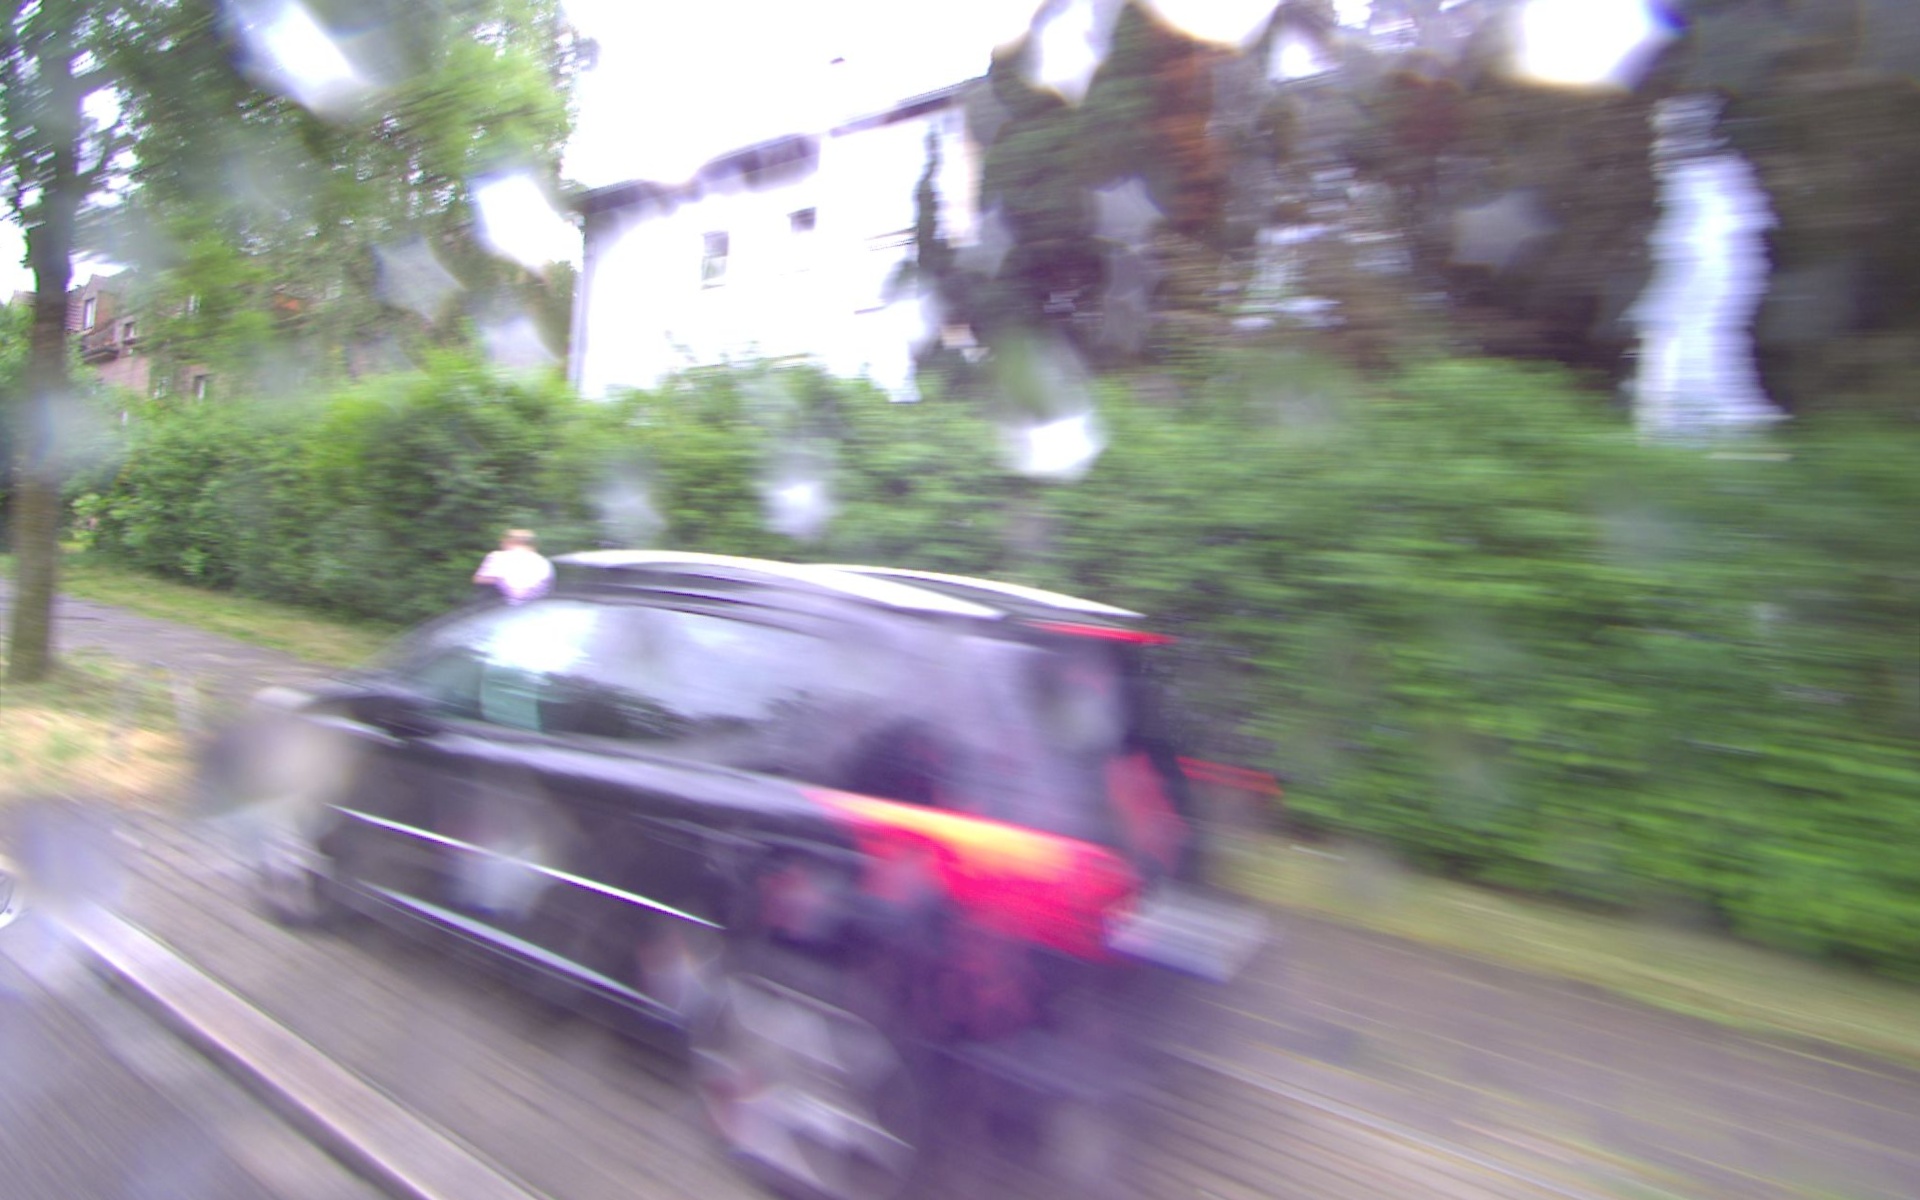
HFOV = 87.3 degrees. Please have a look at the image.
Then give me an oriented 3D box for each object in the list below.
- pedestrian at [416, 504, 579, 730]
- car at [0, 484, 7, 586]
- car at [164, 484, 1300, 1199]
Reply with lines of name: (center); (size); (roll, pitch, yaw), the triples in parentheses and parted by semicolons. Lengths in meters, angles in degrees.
pedestrian: (-3.789, 0.129, 8.257); (0.879, 1.701, 0.717); (6, 2, 29)
car: (-12.105, -0.671, 10.807); (3.722, 1.532, 1.723); (7, 1, 31)
car: (-1.042, 0.554, 3.684); (3.947, 1.617, 1.641); (7, 3, 31)
